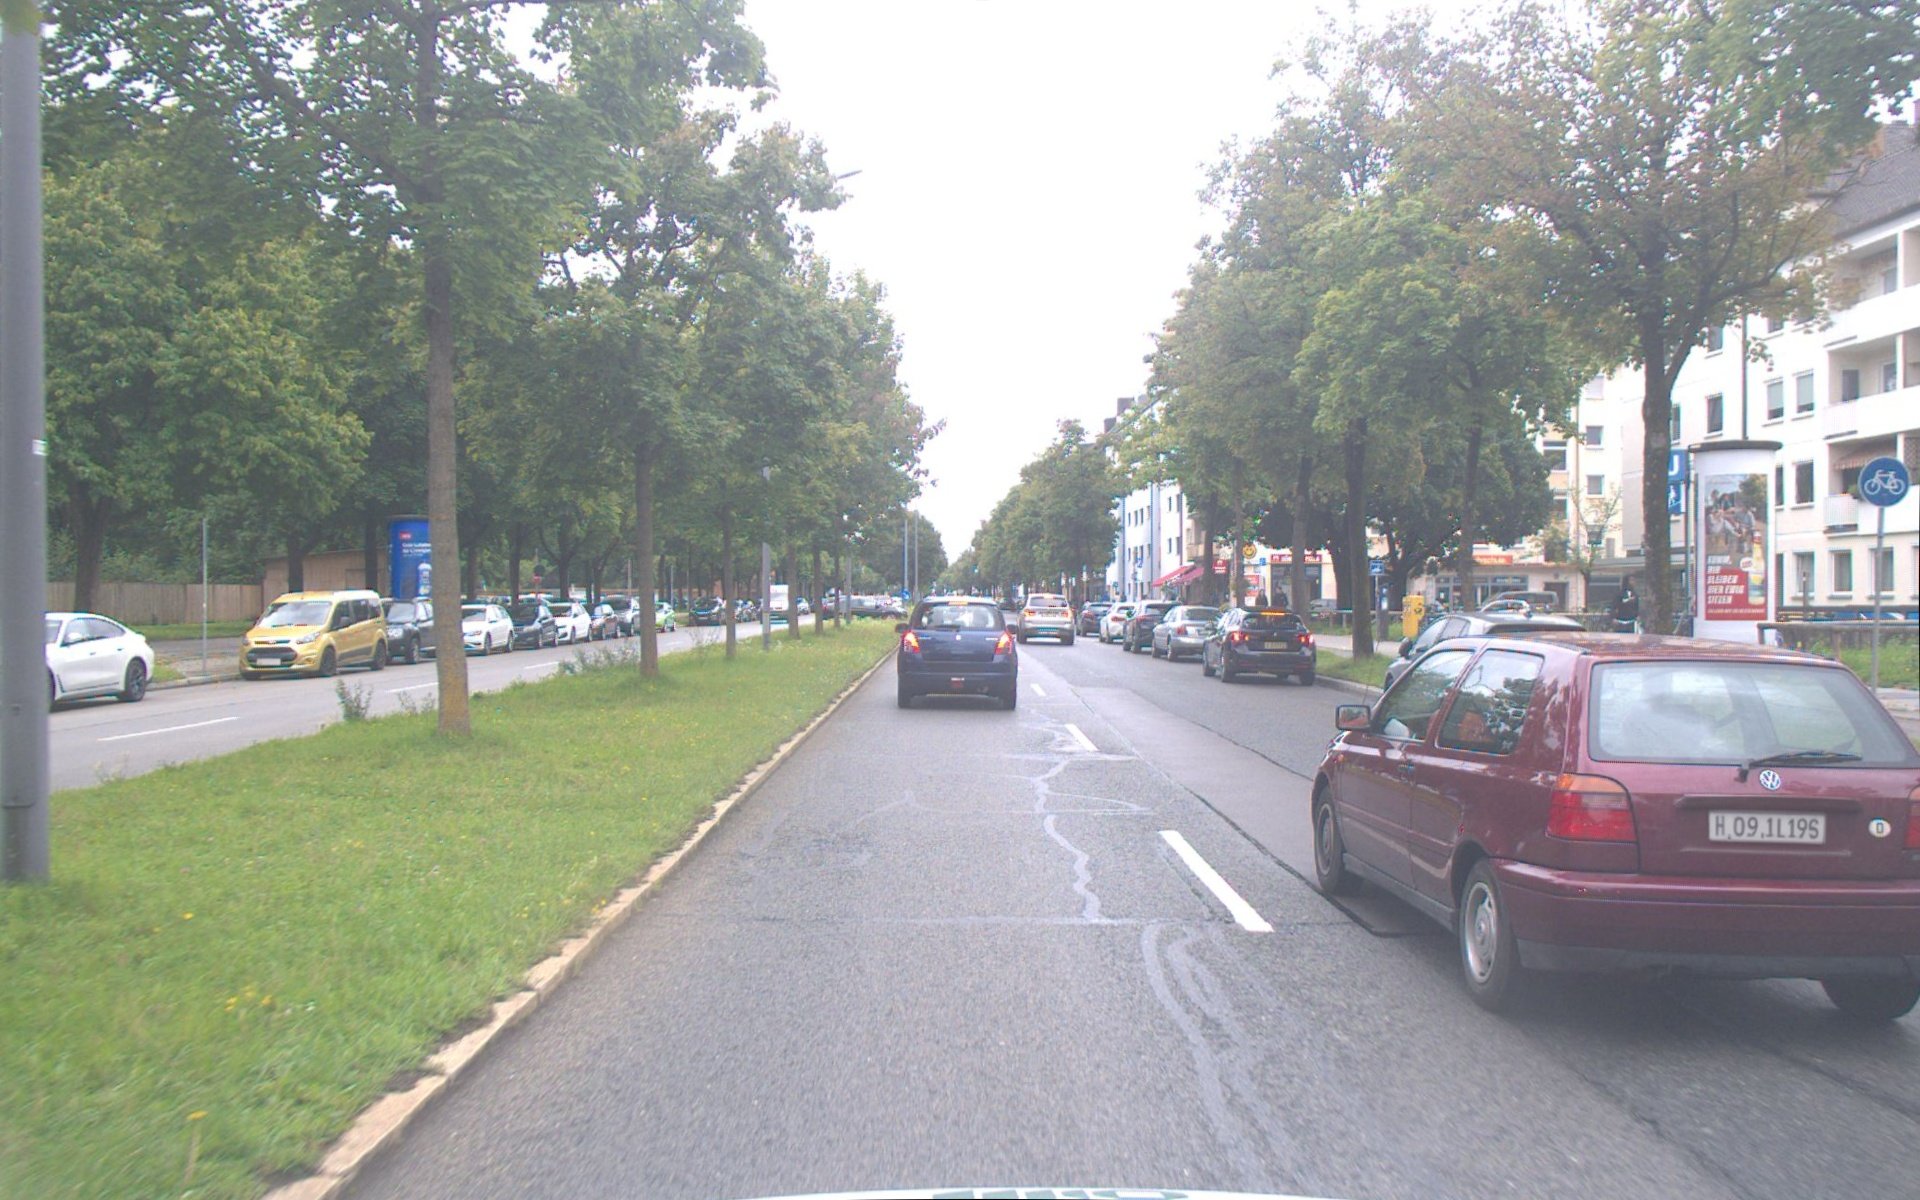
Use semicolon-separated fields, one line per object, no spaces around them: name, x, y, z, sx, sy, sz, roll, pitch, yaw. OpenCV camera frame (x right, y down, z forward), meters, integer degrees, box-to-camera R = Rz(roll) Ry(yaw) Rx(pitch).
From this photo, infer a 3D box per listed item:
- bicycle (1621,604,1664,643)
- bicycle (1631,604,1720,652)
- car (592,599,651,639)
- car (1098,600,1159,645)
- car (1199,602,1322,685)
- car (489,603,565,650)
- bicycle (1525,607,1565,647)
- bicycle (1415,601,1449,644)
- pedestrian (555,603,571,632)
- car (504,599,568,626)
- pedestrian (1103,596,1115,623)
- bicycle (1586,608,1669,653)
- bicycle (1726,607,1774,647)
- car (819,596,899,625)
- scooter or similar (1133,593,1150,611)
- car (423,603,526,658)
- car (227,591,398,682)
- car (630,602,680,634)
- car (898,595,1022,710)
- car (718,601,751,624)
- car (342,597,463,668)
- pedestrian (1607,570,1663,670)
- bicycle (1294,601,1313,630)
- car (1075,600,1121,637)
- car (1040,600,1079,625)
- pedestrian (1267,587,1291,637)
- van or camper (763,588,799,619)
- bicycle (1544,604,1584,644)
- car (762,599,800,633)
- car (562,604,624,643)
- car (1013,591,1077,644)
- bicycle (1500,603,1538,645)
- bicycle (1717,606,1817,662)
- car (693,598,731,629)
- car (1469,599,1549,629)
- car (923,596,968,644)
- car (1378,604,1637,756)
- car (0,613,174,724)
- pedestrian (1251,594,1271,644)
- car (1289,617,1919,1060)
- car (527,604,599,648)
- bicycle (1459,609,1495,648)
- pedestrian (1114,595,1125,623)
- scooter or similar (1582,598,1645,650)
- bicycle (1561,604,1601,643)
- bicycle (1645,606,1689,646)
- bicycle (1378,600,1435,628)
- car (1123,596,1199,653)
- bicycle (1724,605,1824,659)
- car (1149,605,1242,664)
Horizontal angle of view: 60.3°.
bicycle;18.920;0.644;45.876;0.422;1.046;1.884;-1;0;1
bicycle;16.262;0.628;37.598;1.840;1.046;0.432;-1;0;-4
car;-14.525;0.803;71.087;1.656;1.614;4.370;-2;0;-1
car;6.014;0.777;59.273;1.648;1.491;4.136;2;0;-1
car;5.912;0.804;32.930;1.714;1.491;4.176;1;0;1
car;-14.164;0.838;54.317;1.581;1.442;3.896;-2;0;-3
bicycle;16.198;0.742;45.828;0.422;1.046;1.884;-1;0;1
bicycle;13.248;0.628;46.471;0.422;1.153;1.884;-1;1;1
pedestrian;-22.174;0.977;92.455;0.712;1.561;0.721;1;-1;0
car;-27.858;0.812;108.783;3.843;1.748;1.671;1;0;-6
pedestrian;11.208;0.703;124.378;0.778;2.049;1.006;0;0;0
bicycle;16.131;0.722;39.980;1.840;1.046;0.432;-1;0;-4
bicycle;21.661;0.737;45.355;0.422;1.046;1.884;-1;0;1
car;-5.253;0.543;85.650;4.042;1.494;1.837;0;0;-7
scooter or similar;13.969;0.169;127.118;1.011;1.330;2.755;0;0;0
car;-14.352;0.877;49.119;1.727;1.475;4.532;-2;0;-1
car;-14.100;0.744;36.344;1.777;1.814;4.818;-2;0;1
car;-14.587;0.852;79.201;1.515;1.434;3.880;-2;0;2
car;-0.044;0.693;23.962;1.648;1.528;3.918;0;0;-1
car;-14.563;0.807;106.974;1.633;1.471;3.878;1;0;-1
car;-14.340;0.793;42.758;1.701;1.675;4.255;-2;0;-1
pedestrian;12.304;0.353;30.172;0.626;1.780;0.849;-2;0;0
bicycle;13.499;0.598;64.979;0.373;1.122;1.883;1;0;0
car;5.819;0.770;69.903;1.584;1.491;3.674;2;0;-1
car;6.021;0.734;100.484;1.828;1.442;4.221;0;0;-4
pedestrian;12.312;0.462;63.788;0.714;1.923;0.919;-1;0;-2
van or camper;-14.919;0.290;138.216;2.073;2.525;7.449;1;0;1
bicycle;16.735;0.649;45.820;0.422;1.046;1.884;-1;0;1
car;-10.865;0.972;100.585;1.763;1.967;4.993;-2;0;-1
car;-14.458;0.907;65.299;1.558;1.421;3.631;-2;0;1
car;2.869;0.554;56.521;1.828;1.690;4.406;1;0;-1
bicycle;15.510;0.655;45.918;0.422;1.120;1.884;-1;0;1
bicycle;15.939;0.665;32.675;1.842;1.046;0.432;-1;0;-9
car;-14.480;0.766;96.871;1.682;1.771;3.878;1;0;-1
car;27.966;0.696;84.323;3.477;1.442;1.871;0;0;-2
car;-0.496;0.619;53.695;1.414;1.509;3.105;0;0;-1
car;6.134;0.825;19.014;1.647;1.491;4.115;1;0;1
car;-14.273;1.012;25.690;1.819;1.498;4.874;-2;0;-1
pedestrian;11.602;0.720;63.779;0.576;1.923;0.902;-1;0;-1
car;2.750;0.817;7.451;1.648;1.408;3.918;1;0;-1
car;-14.406;0.903;60.241;1.574;1.469;4.279;-2;0;0
bicycle;14.366;0.777;46.018;0.422;1.046;1.884;-1;0;1
pedestrian;12.009;0.683;124.400;0.778;2.049;1.006;0;0;0
scooter or similar;15.463;0.564;39.144;0.355;1.221;1.369;-1;-1;-42
bicycle;17.208;0.642;45.854;0.422;1.046;1.884;-1;0;1
bicycle;19.625;0.709;45.942;0.422;1.046;1.884;-1;0;1
bicycle;15.835;0.497;58.677;1.838;0.956;0.558;1;0;1
car;5.909;0.683;49.004;1.681;1.560;4.275;1;0;0
bicycle;16.348;0.641;33.227;1.841;1.046;0.432;-1;0;-6
car;6.107;0.858;43.297;1.603;1.410;4.241;1;0;-3
